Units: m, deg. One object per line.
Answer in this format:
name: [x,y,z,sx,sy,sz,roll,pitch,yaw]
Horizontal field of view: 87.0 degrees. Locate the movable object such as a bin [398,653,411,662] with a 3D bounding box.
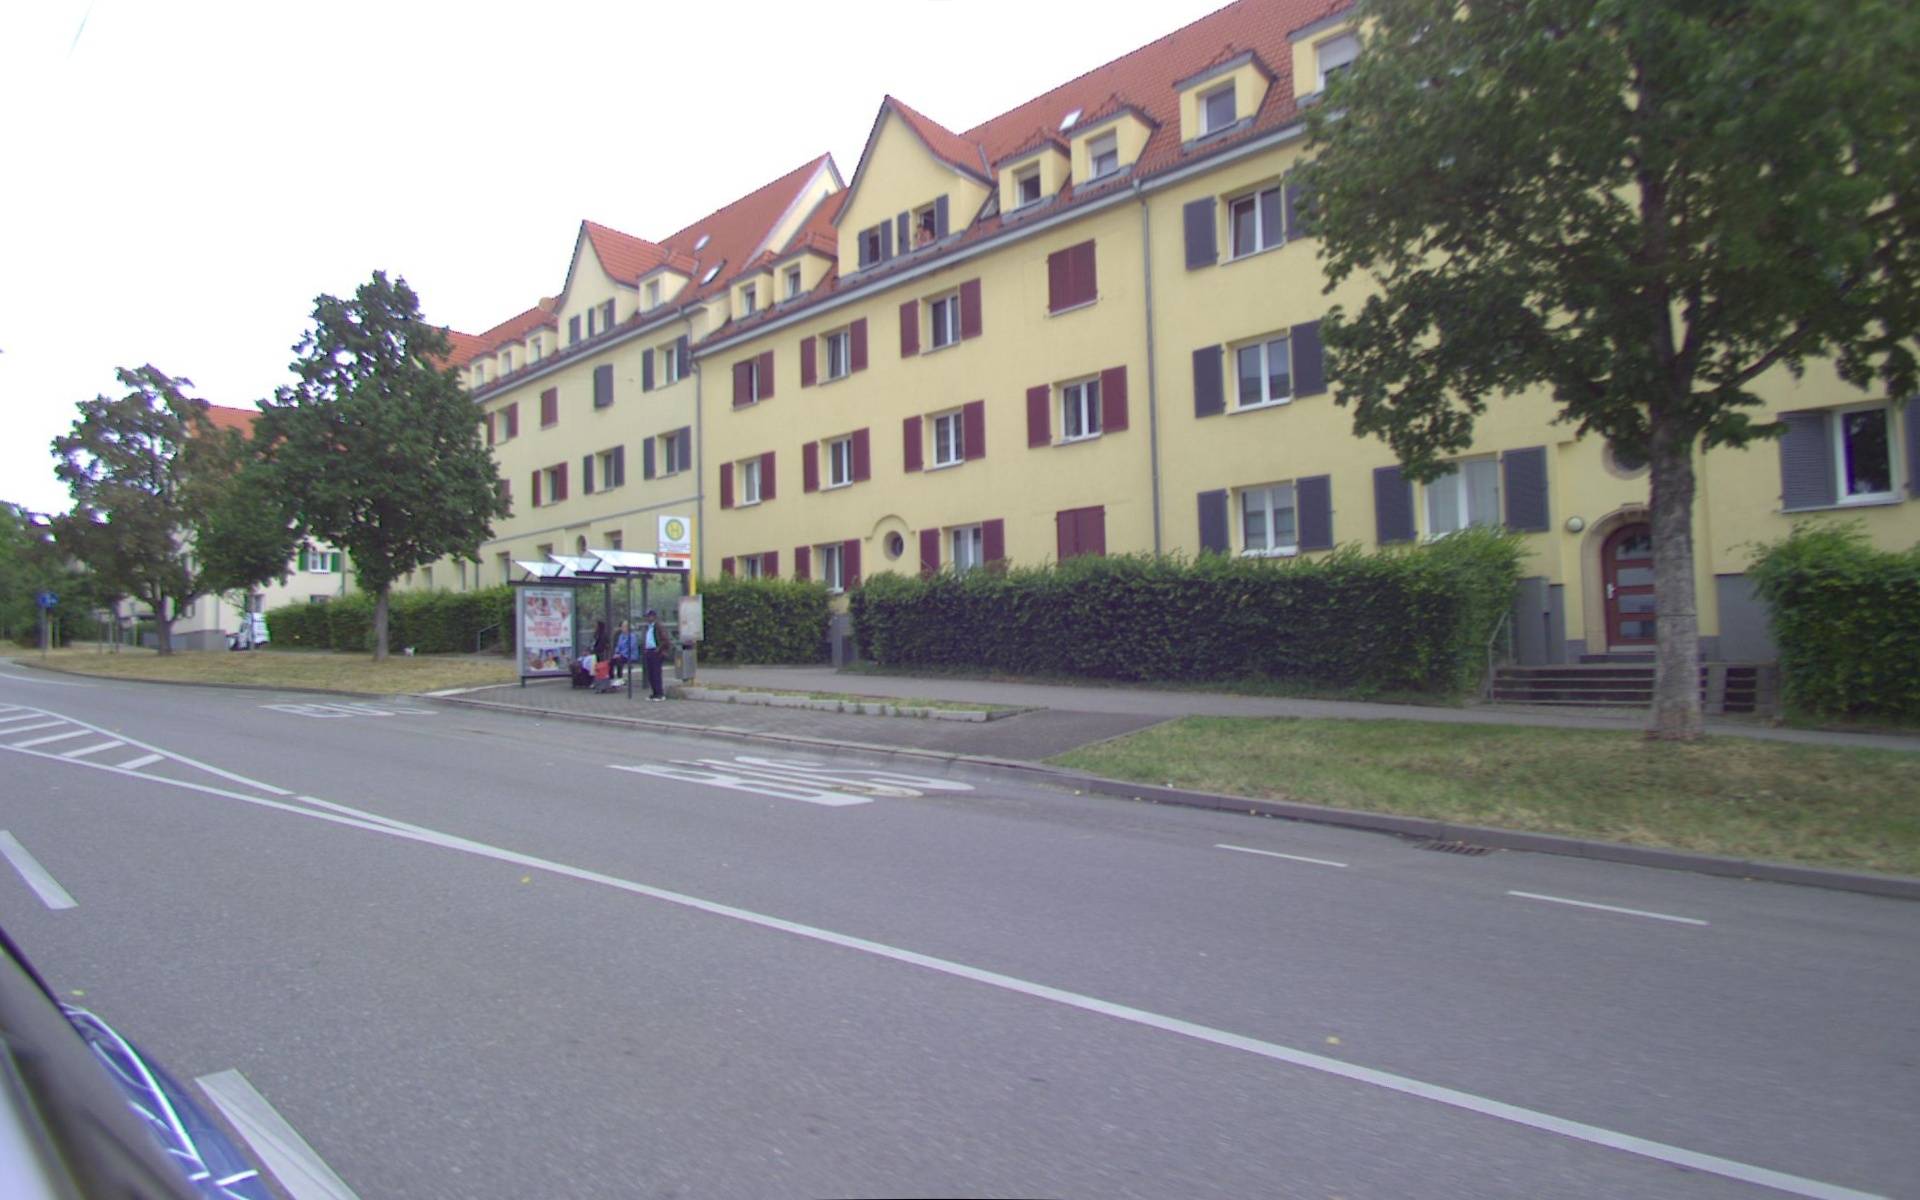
movable object such as a bin: [-21.345,2.201,38.913,0.303,0.350,0.582,1,-2,-44]

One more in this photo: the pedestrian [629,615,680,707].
pedestrian: [-5.928,1.171,19.641,0.861,1.740,0.591,-2,-2,43]

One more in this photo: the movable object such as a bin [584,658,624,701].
movable object such as a bin: [-7.527,1.672,21.414,0.665,0.852,0.531,-2,-1,42]

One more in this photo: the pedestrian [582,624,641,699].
pedestrian: [-7.404,1.284,21.522,0.806,1.521,0.890,-2,-1,41]

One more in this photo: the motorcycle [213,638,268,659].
motorcycle: [-44.849,3.013,63.144,2.561,1.288,1.020,1,-2,-16]

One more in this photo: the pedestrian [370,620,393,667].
pedestrian: [-22.087,1.659,38.643,0.753,1.793,0.508,-2,-2,40]

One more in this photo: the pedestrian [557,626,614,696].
pedestrian: [-8.254,1.335,22.319,0.806,1.485,0.890,-2,-1,41]

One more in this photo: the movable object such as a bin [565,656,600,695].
movable object such as a bin: [-8.309,1.654,22.276,0.665,0.832,0.459,-2,-1,42]

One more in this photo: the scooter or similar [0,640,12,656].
scooter or similar: [-67.226,3.353,70.681,0.466,1.094,1.357,-2,-3,36]

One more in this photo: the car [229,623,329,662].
car: [-41.558,2.594,61.848,1.994,2.270,4.668,-2,-3,41]
